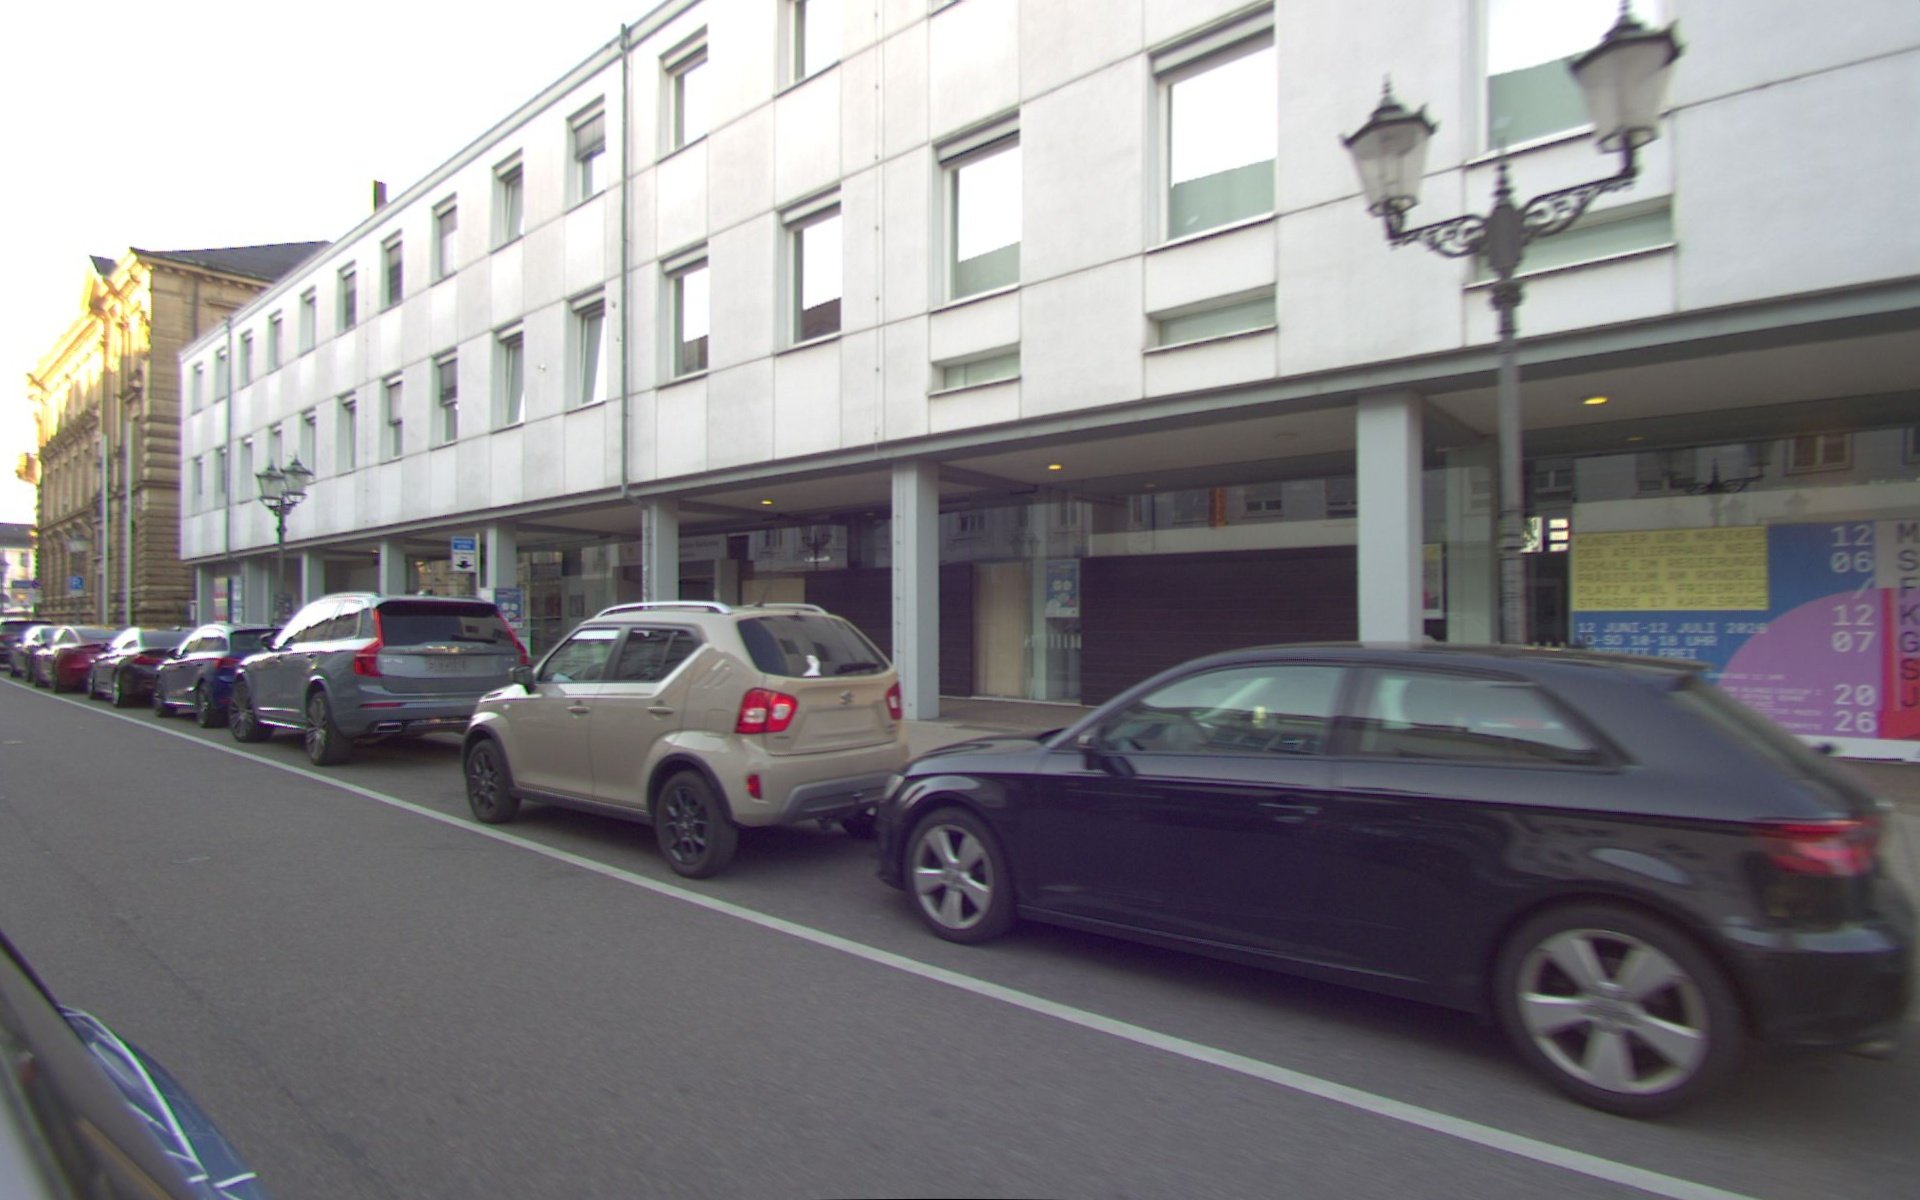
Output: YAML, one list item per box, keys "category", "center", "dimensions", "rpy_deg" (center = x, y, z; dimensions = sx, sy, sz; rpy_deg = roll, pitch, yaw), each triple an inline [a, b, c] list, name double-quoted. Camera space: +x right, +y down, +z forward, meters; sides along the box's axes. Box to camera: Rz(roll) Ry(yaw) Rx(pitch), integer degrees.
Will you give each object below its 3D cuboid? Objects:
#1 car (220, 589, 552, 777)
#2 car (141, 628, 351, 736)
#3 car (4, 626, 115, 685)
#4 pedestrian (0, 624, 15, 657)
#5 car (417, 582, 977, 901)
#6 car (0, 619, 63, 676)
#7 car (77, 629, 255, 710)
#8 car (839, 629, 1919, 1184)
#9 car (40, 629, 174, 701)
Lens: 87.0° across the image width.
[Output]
- category: "car"
  center: [-6.728, 0.839, 11.653]
  dimensions: [4.514, 1.741, 1.972]
  rpy_deg: [-1, -3, 42]
- category: "car"
  center: [-10.839, 1.134, 15.270]
  dimensions: [3.997, 1.411, 1.656]
  rpy_deg: [-1, -2, 41]
- category: "car"
  center: [-23.804, 1.408, 26.715]
  dimensions: [4.087, 1.419, 1.766]
  rpy_deg: [-1, -2, 42]
- category: "pedestrian"
  center: [-51.887, 2.186, 54.954]
  dimensions: [0.896, 1.743, 0.706]
  rpy_deg: [-2, 1, 43]
- category: "car"
  center: [-2.052, 0.790, 7.374]
  dimensions: [3.995, 1.674, 1.974]
  rpy_deg: [-1, -2, 39]
- category: "car"
  center: [-28.983, 1.425, 31.022]
  dimensions: [4.165, 1.627, 1.766]
  rpy_deg: [-1, -2, 42]
- category: "car"
  center: [-15.161, 1.251, 19.258]
  dimensions: [3.999, 1.364, 1.972]
  rpy_deg: [-1, -3, 42]
- category: "car"
  center: [1.512, 0.825, 4.360]
  dimensions: [4.100, 1.364, 1.661]
  rpy_deg: [-1, -1, 39]
- category: "car"
  center: [-19.063, 1.377, 22.563]
  dimensions: [4.087, 1.419, 1.766]
  rpy_deg: [-1, -2, 42]
